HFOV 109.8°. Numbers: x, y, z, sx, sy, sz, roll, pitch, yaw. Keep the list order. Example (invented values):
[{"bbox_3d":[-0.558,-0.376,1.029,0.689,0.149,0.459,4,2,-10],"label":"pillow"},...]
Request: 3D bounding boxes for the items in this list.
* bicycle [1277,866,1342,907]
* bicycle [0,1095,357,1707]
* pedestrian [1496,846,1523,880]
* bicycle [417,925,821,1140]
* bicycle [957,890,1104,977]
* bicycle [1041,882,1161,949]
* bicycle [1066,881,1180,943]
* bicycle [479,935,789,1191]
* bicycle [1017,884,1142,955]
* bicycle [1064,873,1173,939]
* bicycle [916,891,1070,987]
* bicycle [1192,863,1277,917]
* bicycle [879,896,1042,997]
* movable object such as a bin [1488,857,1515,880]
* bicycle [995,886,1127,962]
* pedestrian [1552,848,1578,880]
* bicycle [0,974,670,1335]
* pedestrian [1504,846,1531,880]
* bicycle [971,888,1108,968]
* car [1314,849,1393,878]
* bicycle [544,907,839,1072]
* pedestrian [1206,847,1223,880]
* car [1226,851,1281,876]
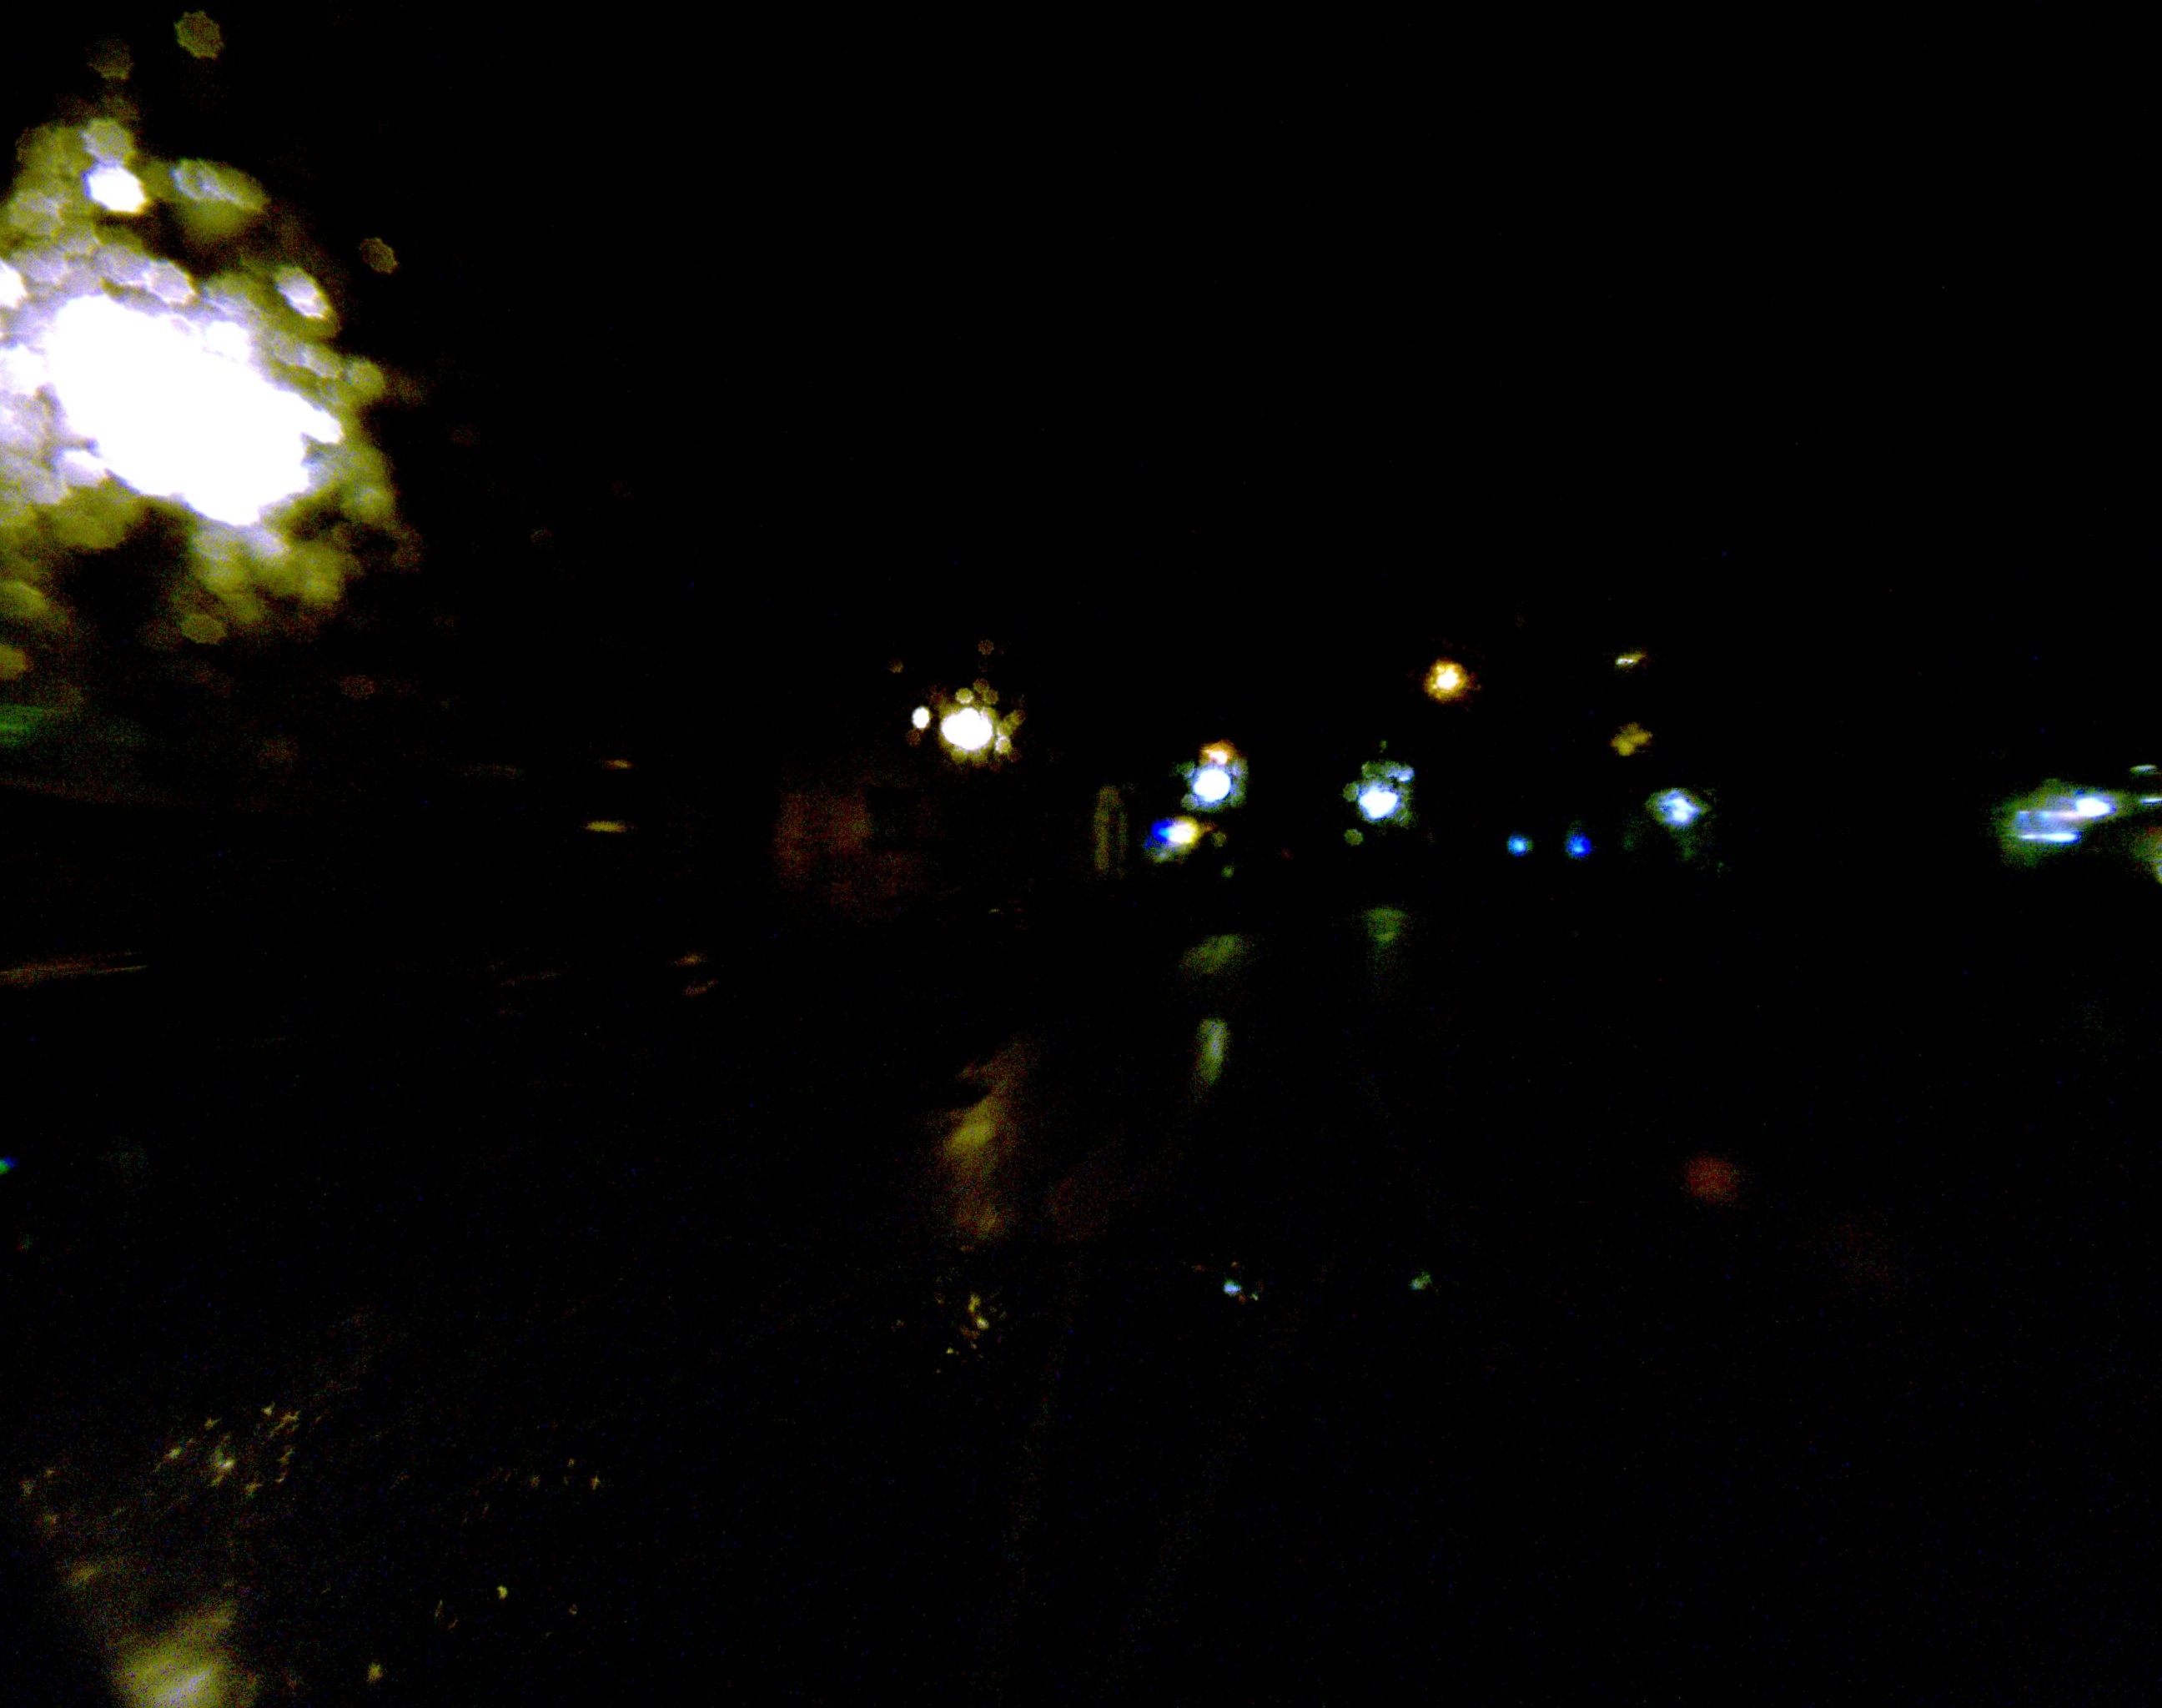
[{"bbox_3d":[6.319,0.886,21.061,1.620,1.076,0.565,-1,3,31],"label":"bicycle"},{"bbox_3d":[-2.663,1.064,1.460,1.973,1.001,0.642,0,1,3],"label":"bicycle"},{"bbox_3d":[20.902,0.454,37.048,0.635,1.628,0.873,-2,-1,-26],"label":"pedestrian"},{"bbox_3d":[-2.662,1.012,4.612,1.975,1.047,0.641,0,1,-12],"label":"bicycle"},{"bbox_3d":[-0.710,1.039,10.309,1.969,1.001,0.643,0,1,32],"label":"bicycle"},{"bbox_3d":[0.322,1.011,12.906,1.969,1.001,0.689,0,1,32],"label":"bicycle"},{"bbox_3d":[0.746,1.009,13.657,1.927,0.982,0.732,0,1,32],"label":"bicycle"},{"bbox_3d":[-2.567,1.045,4.282,1.969,1.001,0.643,0,1,32],"label":"bicycle"},{"bbox_3d":[-0.048,1.021,12.290,1.969,1.001,0.643,0,1,32],"label":"bicycle"},{"bbox_3d":[0.689,0.947,14.320,1.927,1.108,0.732,0,1,32],"label":"bicycle"},{"bbox_3d":[-1.145,1.036,9.698,1.969,1.028,0.643,0,1,32],"label":"bicycle"},{"bbox_3d":[3.677,0.847,18.287,1.869,1.210,0.732,0,1,32],"label":"bicycle"},{"bbox_3d":[-1.461,1.054,9.066,1.969,1.001,0.643,0,1,32],"label":"bicycle"},{"bbox_3d":[21.116,0.735,38.149,0.635,1.109,0.921,-2,-1,-26],"label":"movable object such as a bin"},{"bbox_3d":[-0.324,1.034,11.595,1.969,1.001,0.643,0,1,32],"label":"bicycle"},{"bbox_3d":[22.895,0.487,35.967,0.635,1.484,0.767,-3,0,-19],"label":"pedestrian"},{"bbox_3d":[-2.687,1.033,2.830,1.973,1.059,0.642,0,1,3],"label":"bicycle"},{"bbox_3d":[21.471,0.443,37.384,0.635,1.628,0.841,-2,-1,-26],"label":"pedestrian"},{"bbox_3d":[-0.623,1.035,11.013,1.969,1.001,0.643,0,1,32],"label":"bicycle"},{"bbox_3d":[16.025,0.543,44.988,1.891,1.584,4.488,-2,0,-21],"label":"car"},{"bbox_3d":[-2.841,0.965,5.657,1.823,1.080,0.721,0,1,3],"label":"bicycle"},{"bbox_3d":[7.320,0.514,41.499,0.688,1.752,1.045,-2,-2,20],"label":"pedestrian"},{"bbox_3d":[12.400,0.657,54.901,1.883,1.694,4.279,-2,0,-19],"label":"car"}]
